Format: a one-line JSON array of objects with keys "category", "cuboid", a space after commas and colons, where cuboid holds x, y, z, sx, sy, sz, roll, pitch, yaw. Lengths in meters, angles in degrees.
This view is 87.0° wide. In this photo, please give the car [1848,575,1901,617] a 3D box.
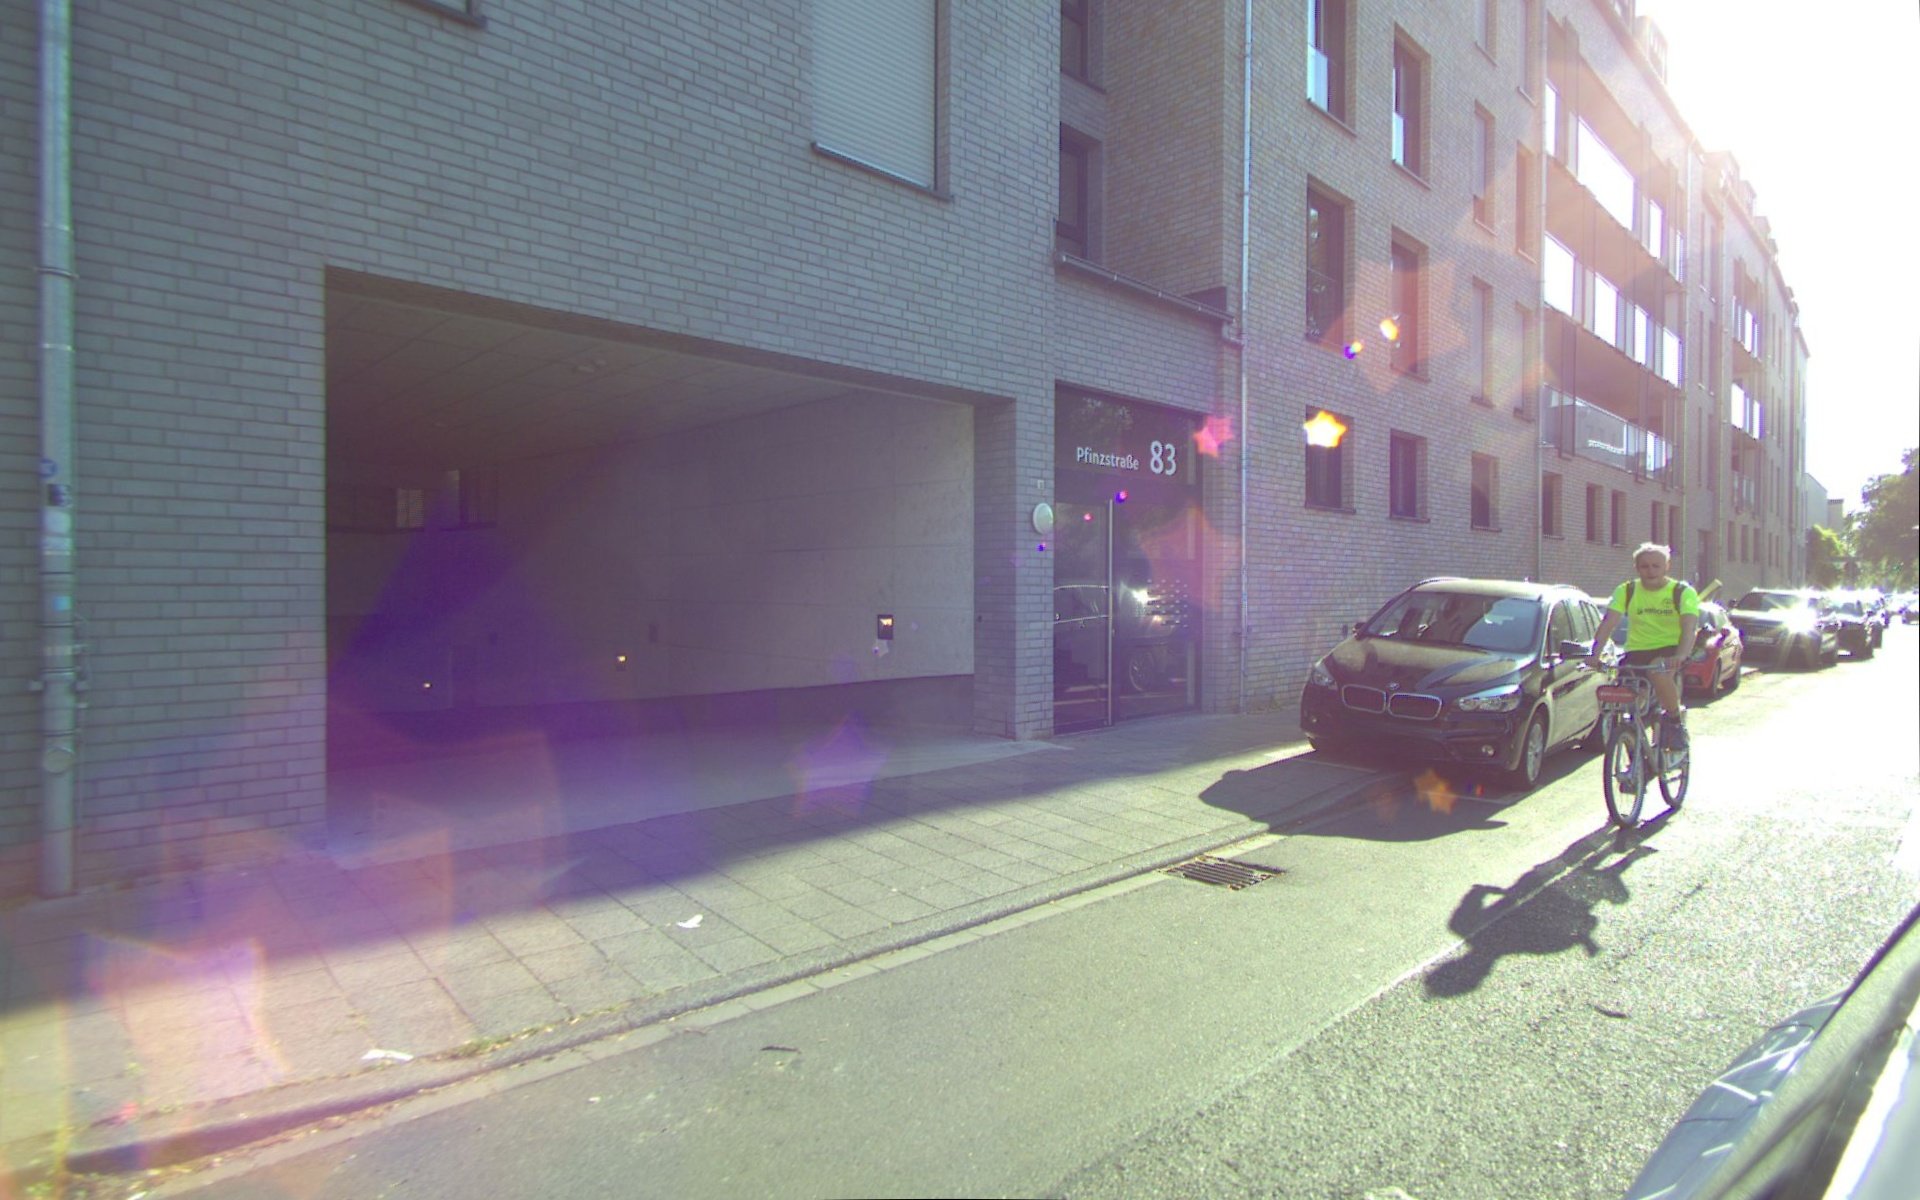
[{"category": "car", "cuboid": [40.385, -0.235, 44.690, 1.666, 1.755, 4.765, 1, 1, 43]}]

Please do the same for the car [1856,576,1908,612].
[{"category": "car", "cuboid": [44.014, -0.320, 48.365, 1.649, 1.611, 4.278, 3, 2, 41]}]

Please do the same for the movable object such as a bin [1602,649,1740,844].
[{"category": "movable object such as a bin", "cuboid": [4.907, 0.926, 6.938, 0.454, 1.046, 1.811, -4, -1, 44]}]

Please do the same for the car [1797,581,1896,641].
[{"category": "car", "cuboid": [24.038, 0.234, 27.388, 1.817, 1.485, 4.202, 1, 1, 44]}]

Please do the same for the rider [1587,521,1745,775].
[{"category": "rider", "cuboid": [4.840, 0.292, 6.920, 0.653, 1.581, 1.066, -4, -1, 44]}]

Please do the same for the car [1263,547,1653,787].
[{"category": "car", "cuboid": [4.860, 0.454, 9.478, 1.993, 1.674, 4.687, 1, 0, 43]}]

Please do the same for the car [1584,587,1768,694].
[{"category": "car", "cuboid": [11.769, 0.558, 16.530, 4.007, 1.421, 1.714, -1, 5, -45]}]

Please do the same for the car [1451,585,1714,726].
[{"category": "car", "cuboid": [8.235, 0.577, 13.222, 4.296, 1.524, 1.994, 0, 1, -45]}]

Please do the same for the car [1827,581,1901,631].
[{"category": "car", "cuboid": [29.734, 0.137, 33.341, 1.695, 1.485, 4.649, 2, 2, 41]}]

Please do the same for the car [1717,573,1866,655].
[{"category": "car", "cuboid": [19.481, 0.290, 23.635, 4.689, 1.734, 1.893, 0, 0, -40]}]
